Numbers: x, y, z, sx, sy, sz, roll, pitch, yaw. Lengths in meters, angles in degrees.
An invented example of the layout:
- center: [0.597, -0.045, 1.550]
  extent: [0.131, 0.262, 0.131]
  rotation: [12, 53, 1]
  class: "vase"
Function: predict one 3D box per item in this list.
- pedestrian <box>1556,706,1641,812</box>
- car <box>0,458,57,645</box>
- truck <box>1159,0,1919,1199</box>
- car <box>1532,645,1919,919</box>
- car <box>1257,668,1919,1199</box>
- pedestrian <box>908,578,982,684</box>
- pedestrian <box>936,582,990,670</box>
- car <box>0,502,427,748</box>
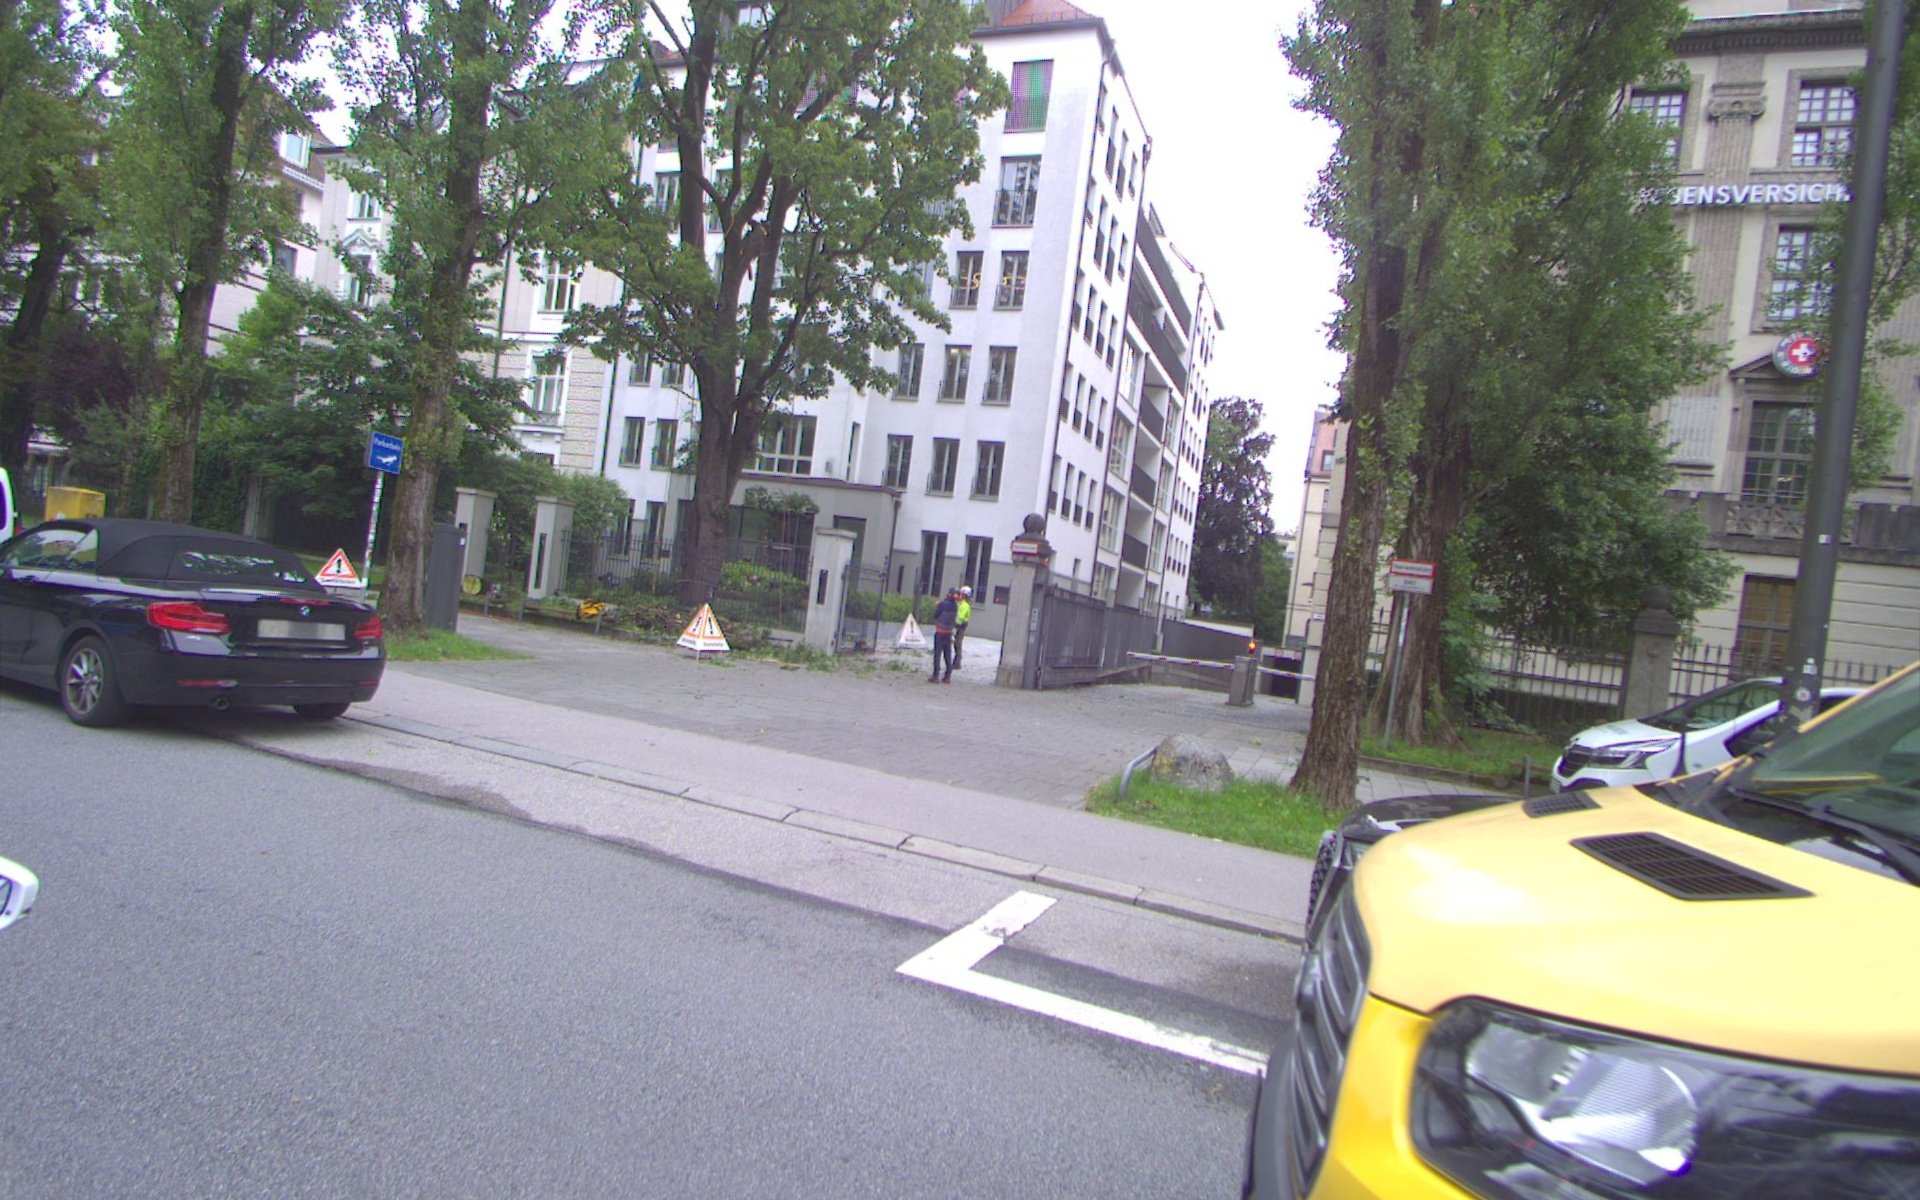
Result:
- center: [8.023, 1.979, 12.673]
  extent: [0.714, 1.156, 0.702]
  rotation: [7, 1, 27]
  class: "pedestrian"
- center: [-11.443, -0.772, 9.981]
  extent: [4.152, 1.793, 1.841]
  rotation: [7, -2, 21]
  class: "car"
- center: [3.983, 0.623, 0.772]
  extent: [7.197, 2.933, 2.335]
  rotation: [7, 0, 21]
  class: "truck"
- center: [8.489, 1.746, 9.201]
  extent: [5.225, 1.948, 2.000]
  rotation: [7, 0, 21]
  class: "car"
- center: [3.451, 1.305, 3.682]
  extent: [4.245, 1.513, 1.731]
  rotation: [7, 0, 23]
  class: "car"
- center: [-0.294, 0.593, 19.196]
  extent: [0.932, 1.889, 0.765]
  rotation: [7, 1, -40]
  class: "pedestrian"
- center: [0.079, 0.594, 22.966]
  extent: [0.819, 1.877, 0.773]
  rotation: [7, 1, 16]
  class: "pedestrian"
- center: [-6.424, 0.085, 7.924]
  extent: [3.927, 1.370, 1.752]
  rotation: [7, -1, 23]
  class: "car"
